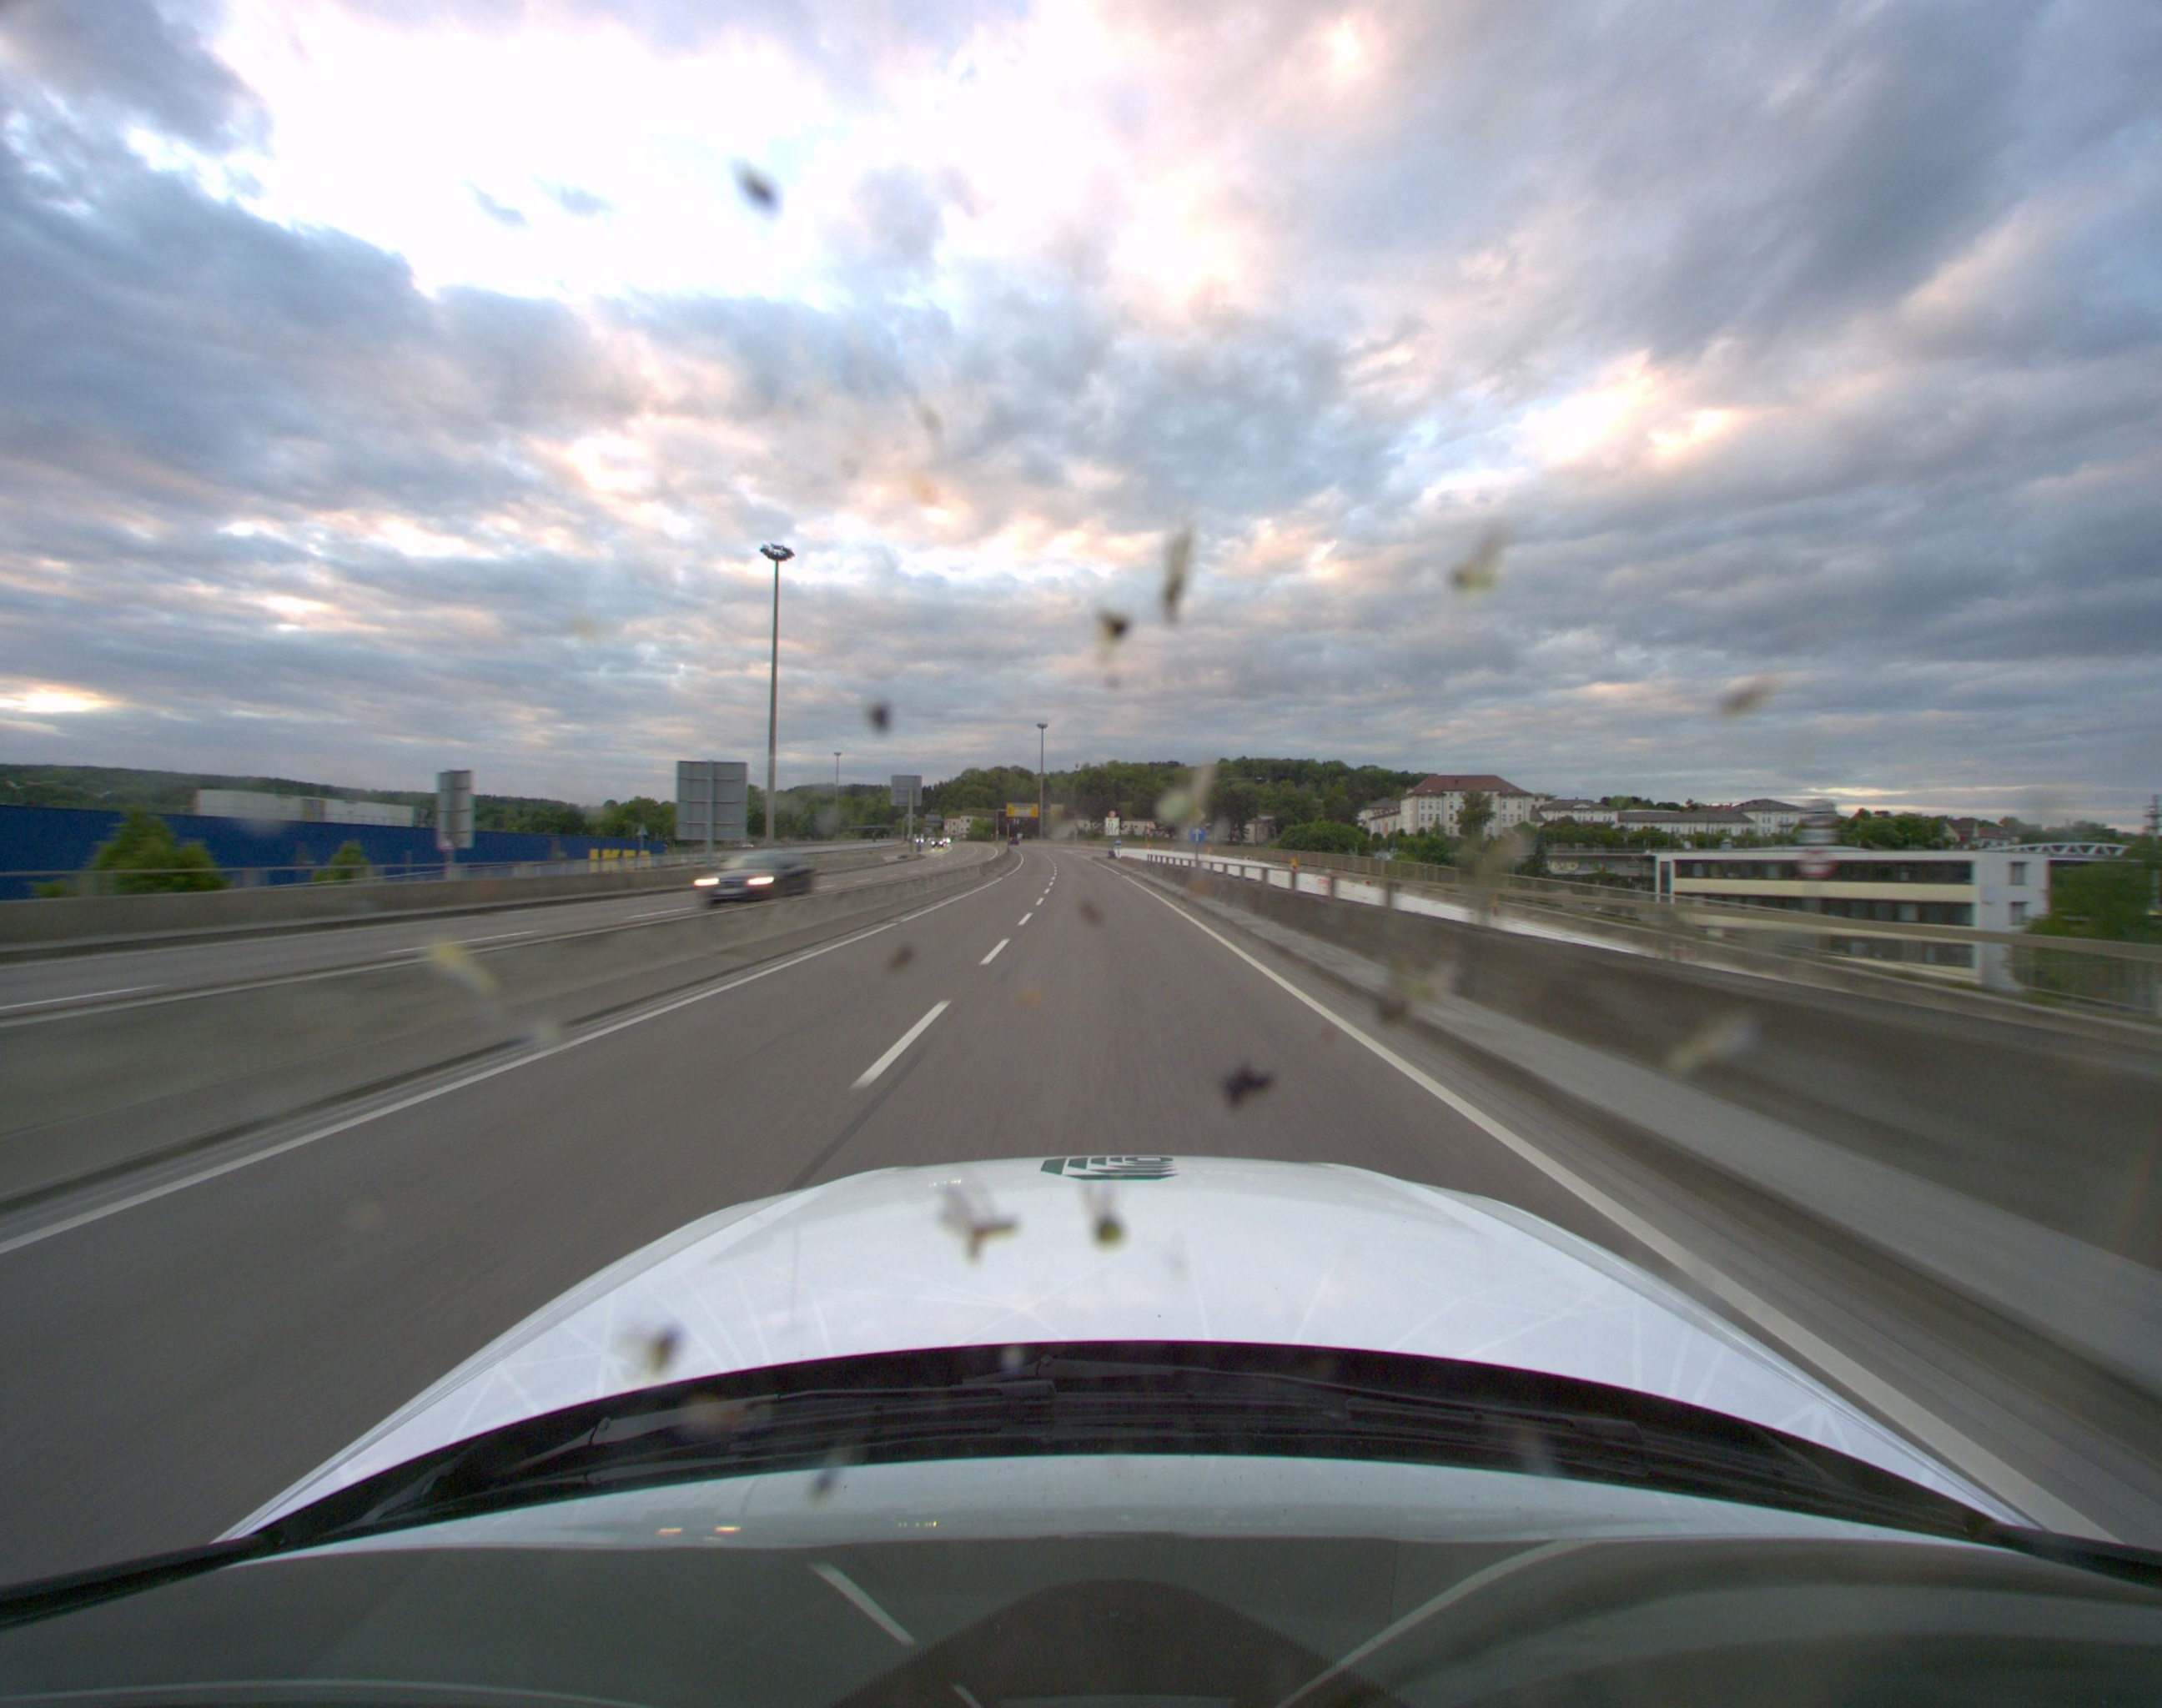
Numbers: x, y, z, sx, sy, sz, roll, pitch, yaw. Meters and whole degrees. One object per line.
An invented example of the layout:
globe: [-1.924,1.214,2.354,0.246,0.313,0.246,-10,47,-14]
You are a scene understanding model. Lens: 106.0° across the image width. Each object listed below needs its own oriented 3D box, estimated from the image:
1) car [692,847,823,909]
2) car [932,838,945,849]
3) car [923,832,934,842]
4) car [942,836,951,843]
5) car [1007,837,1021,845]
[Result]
car: [-8.363,0.576,21.481,1.824,1.480,4.284,0,0,-1]
car: [-24.860,-1.877,142.000,1.633,1.717,3.994,-5,1,-4]
car: [-34.183,-3.741,182.829,1.992,2.013,3.990,6,1,-8]
car: [-32.910,-3.473,199.639,1.714,1.494,4.058,2,-1,-17]
car: [-15.008,-2.879,181.483,2.310,1.763,4.238,1,1,-17]
